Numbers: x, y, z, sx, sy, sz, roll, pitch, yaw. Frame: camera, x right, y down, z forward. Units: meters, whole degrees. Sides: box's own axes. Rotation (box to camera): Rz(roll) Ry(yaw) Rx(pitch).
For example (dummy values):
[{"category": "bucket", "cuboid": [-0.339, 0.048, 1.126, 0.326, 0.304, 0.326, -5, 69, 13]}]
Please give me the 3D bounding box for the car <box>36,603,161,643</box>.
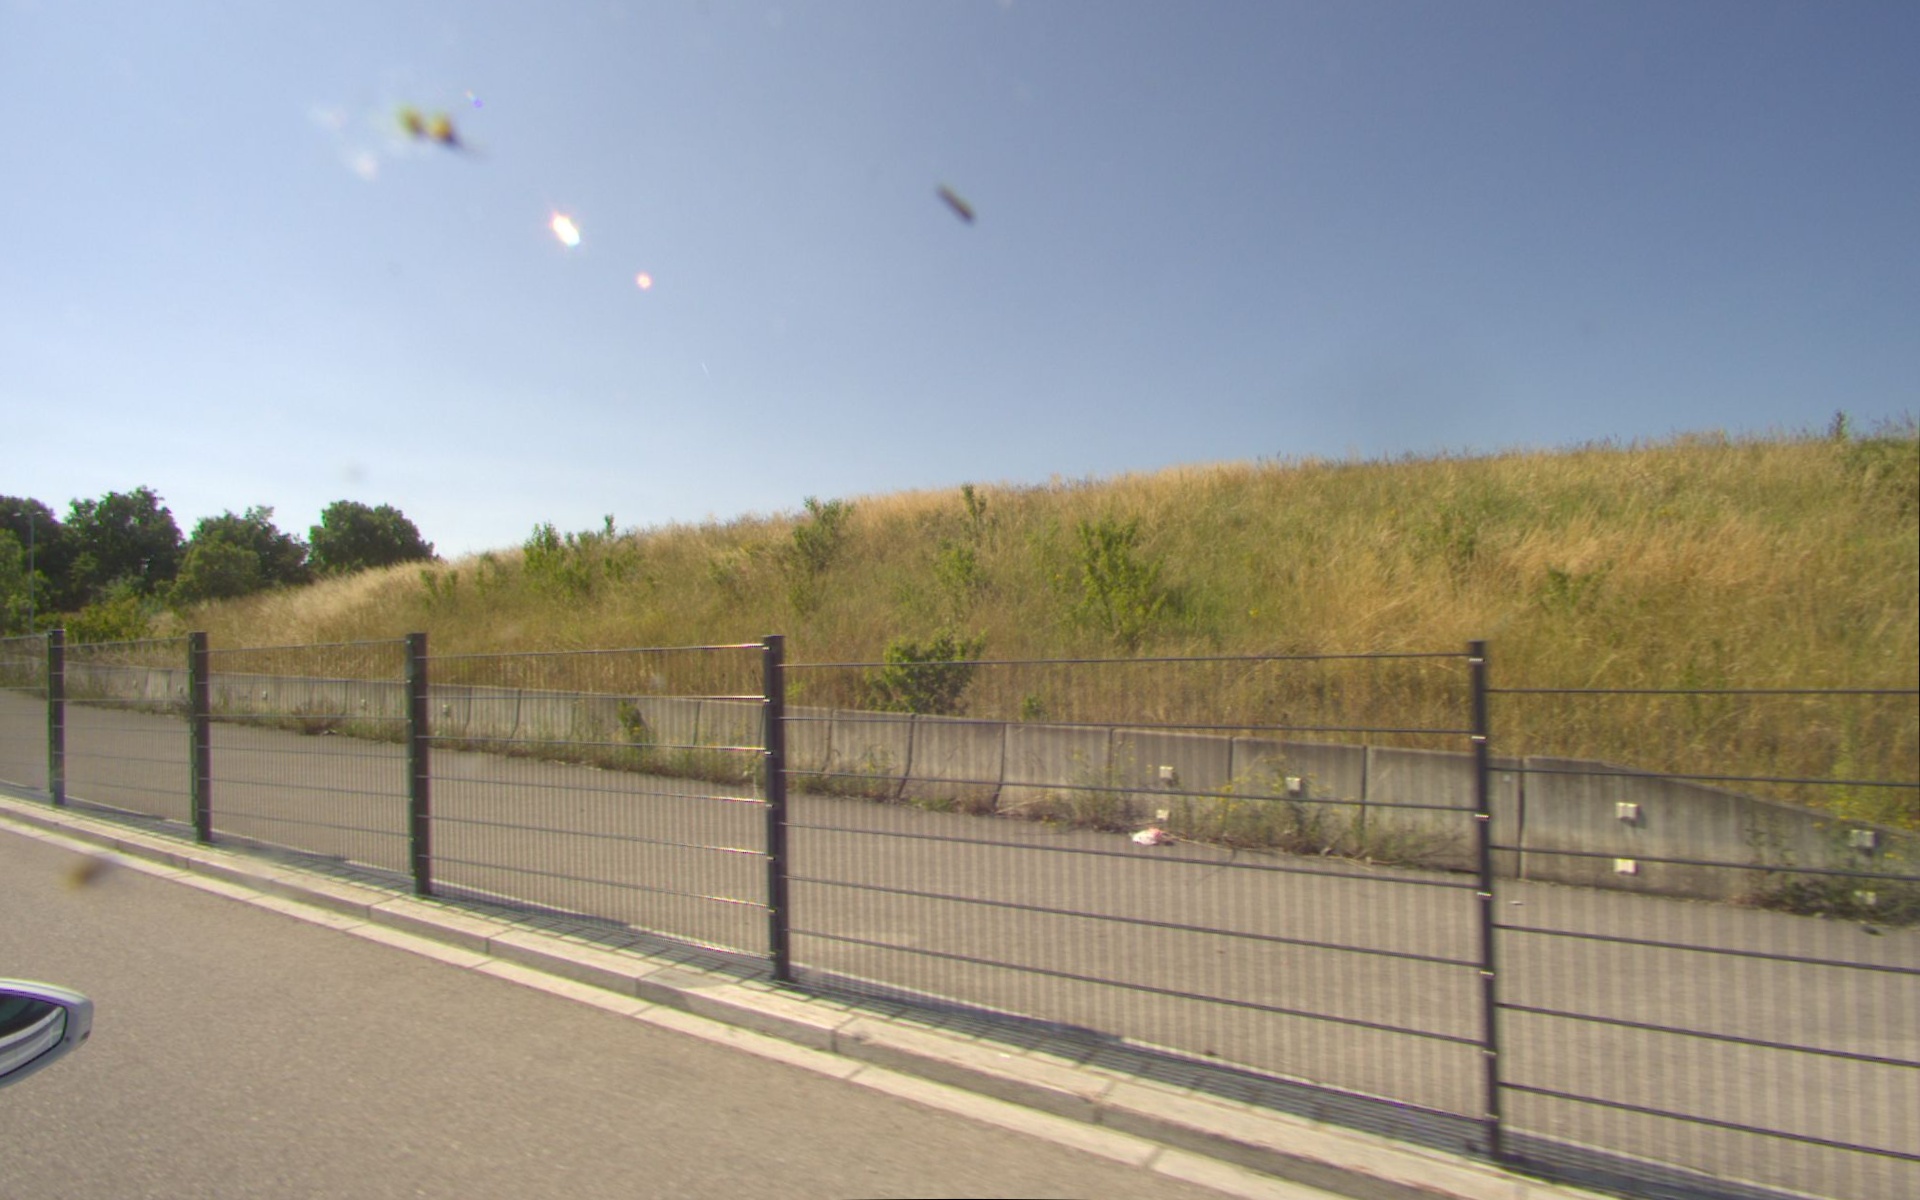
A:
[{"category": "car", "cuboid": [-38.974, 1.085, 45.396, 1.970, 1.738, 3.842, -1, -3, 30]}]
